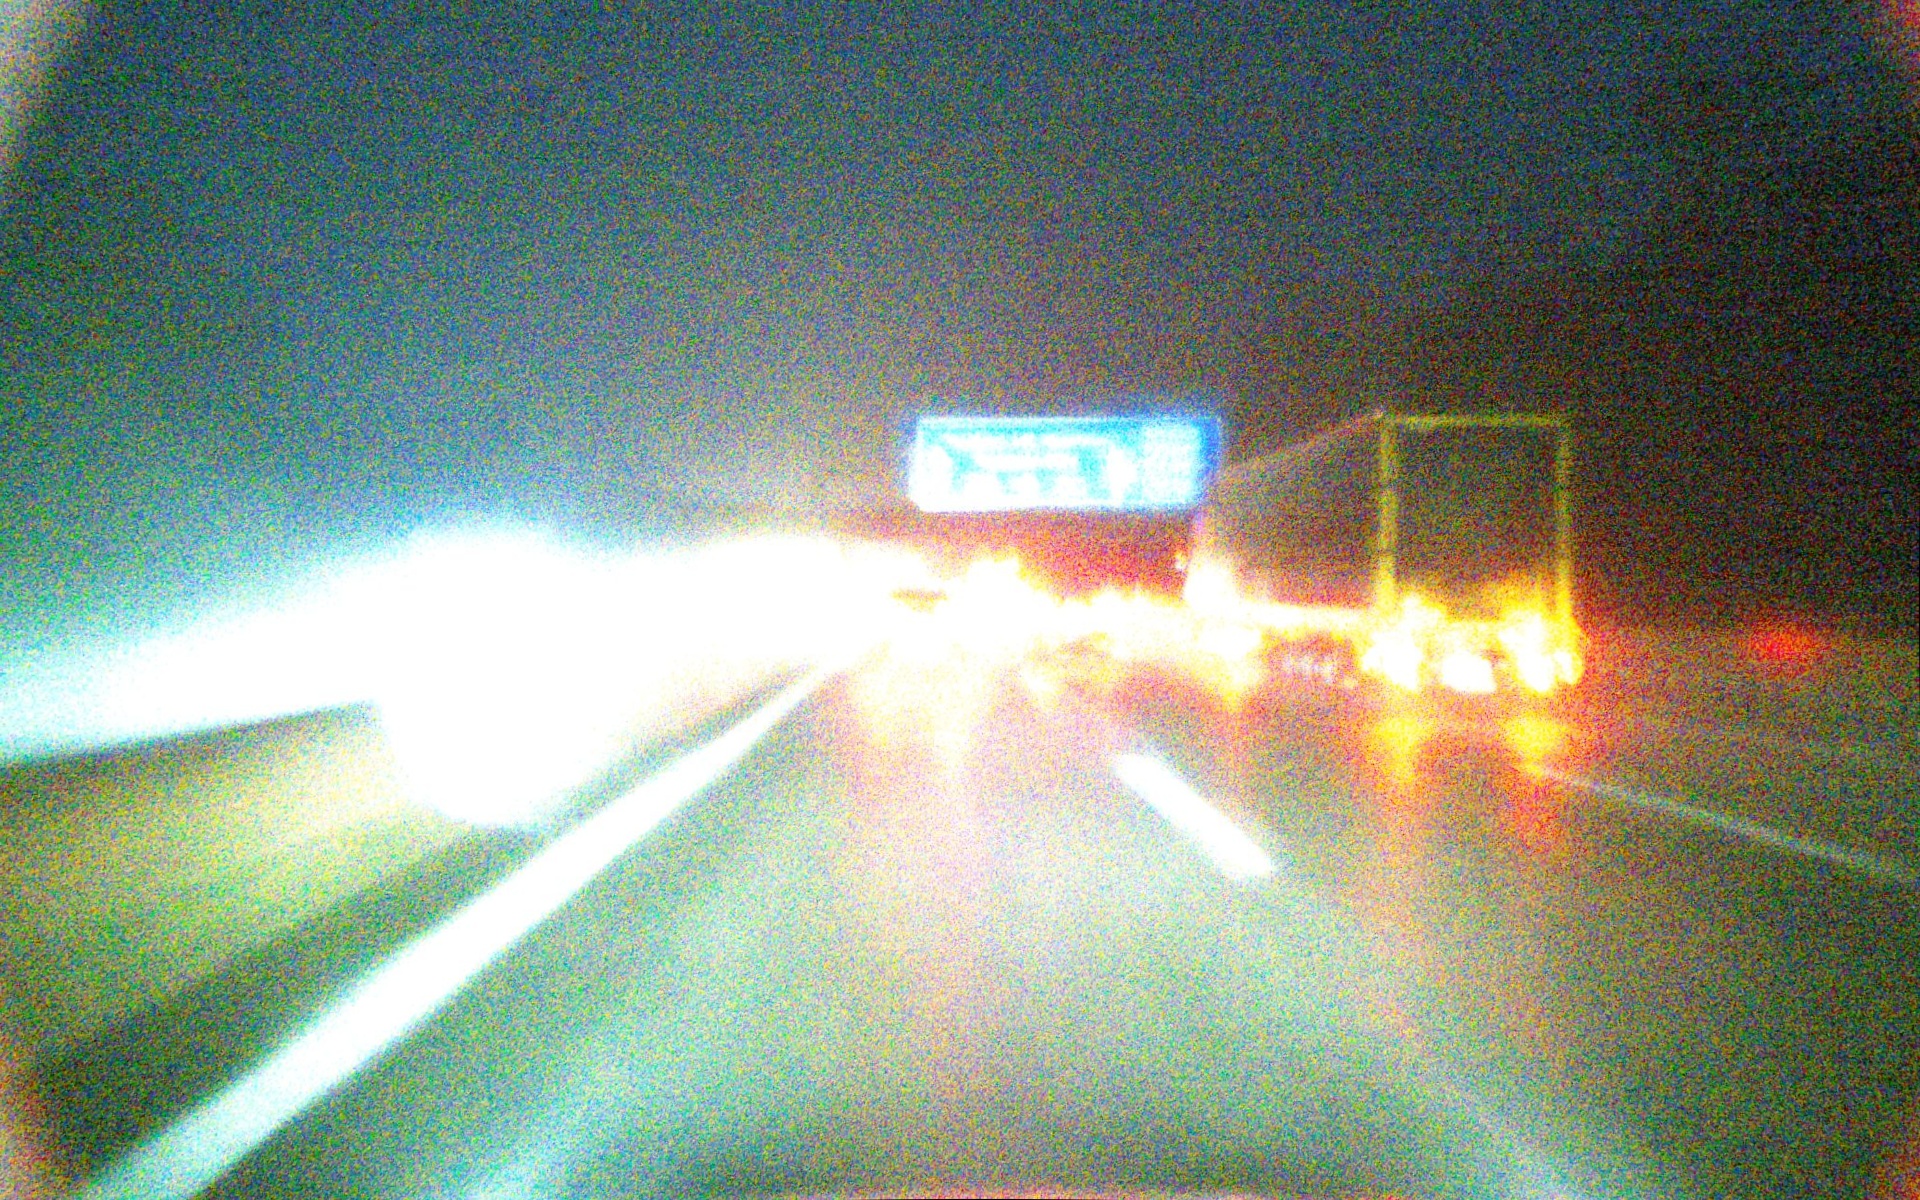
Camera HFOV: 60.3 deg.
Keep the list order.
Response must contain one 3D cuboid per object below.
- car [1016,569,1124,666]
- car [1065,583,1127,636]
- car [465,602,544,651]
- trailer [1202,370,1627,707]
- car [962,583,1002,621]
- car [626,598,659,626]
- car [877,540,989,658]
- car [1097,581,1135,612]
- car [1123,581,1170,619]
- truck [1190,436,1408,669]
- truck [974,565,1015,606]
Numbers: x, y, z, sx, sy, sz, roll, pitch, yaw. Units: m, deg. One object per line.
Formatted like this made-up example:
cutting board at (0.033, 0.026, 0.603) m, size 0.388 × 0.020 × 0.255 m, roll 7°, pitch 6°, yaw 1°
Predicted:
car at (2.474, 0.365, 37.991) m, size 1.954 × 2.049 × 3.998 m, roll -2°, pitch 0°, yaw -3°
car at (5.582, 0.367, 68.302) m, size 1.954 × 2.049 × 3.998 m, roll -2°, pitch 0°, yaw -3°
car at (-18.001, 1.012, 65.578) m, size 1.954 × 1.791 × 4.956 m, roll -2°, pitch 0°, yaw -3°
trailer at (6.791, -0.840, 27.890) m, size 2.979 × 4.180 × 13.825 m, roll -2°, pitch 0°, yaw -1°
car at (1.243, 0.107, 94.227) m, size 1.954 × 2.049 × 3.998 m, roll -2°, pitch 0°, yaw -3°
car at (-24.395, 0.875, 127.155) m, size 1.954 × 2.049 × 3.998 m, roll -2°, pitch 0°, yaw -3°
car at (-0.530, -0.032, 31.227) m, size 1.953 × 2.049 × 3.999 m, roll 1°, pitch 0°, yaw -2°
car at (10.778, -0.245, 114.367) m, size 1.954 × 2.049 × 3.998 m, roll -2°, pitch 0°, yaw -3°
car at (10.602, -0.031, 94.339) m, size 1.954 × 2.049 × 3.998 m, roll -2°, pitch 0°, yaw -3°
truck at (6.616, -0.892, 33.211) m, size 2.979 × 4.180 × 5.797 m, roll -2°, pitch 0°, yaw -1°
truck at (2.987, -1.291, 146.453) m, size 2.976 × 3.355 × 11.378 m, roll -2°, pitch 0°, yaw -1°
